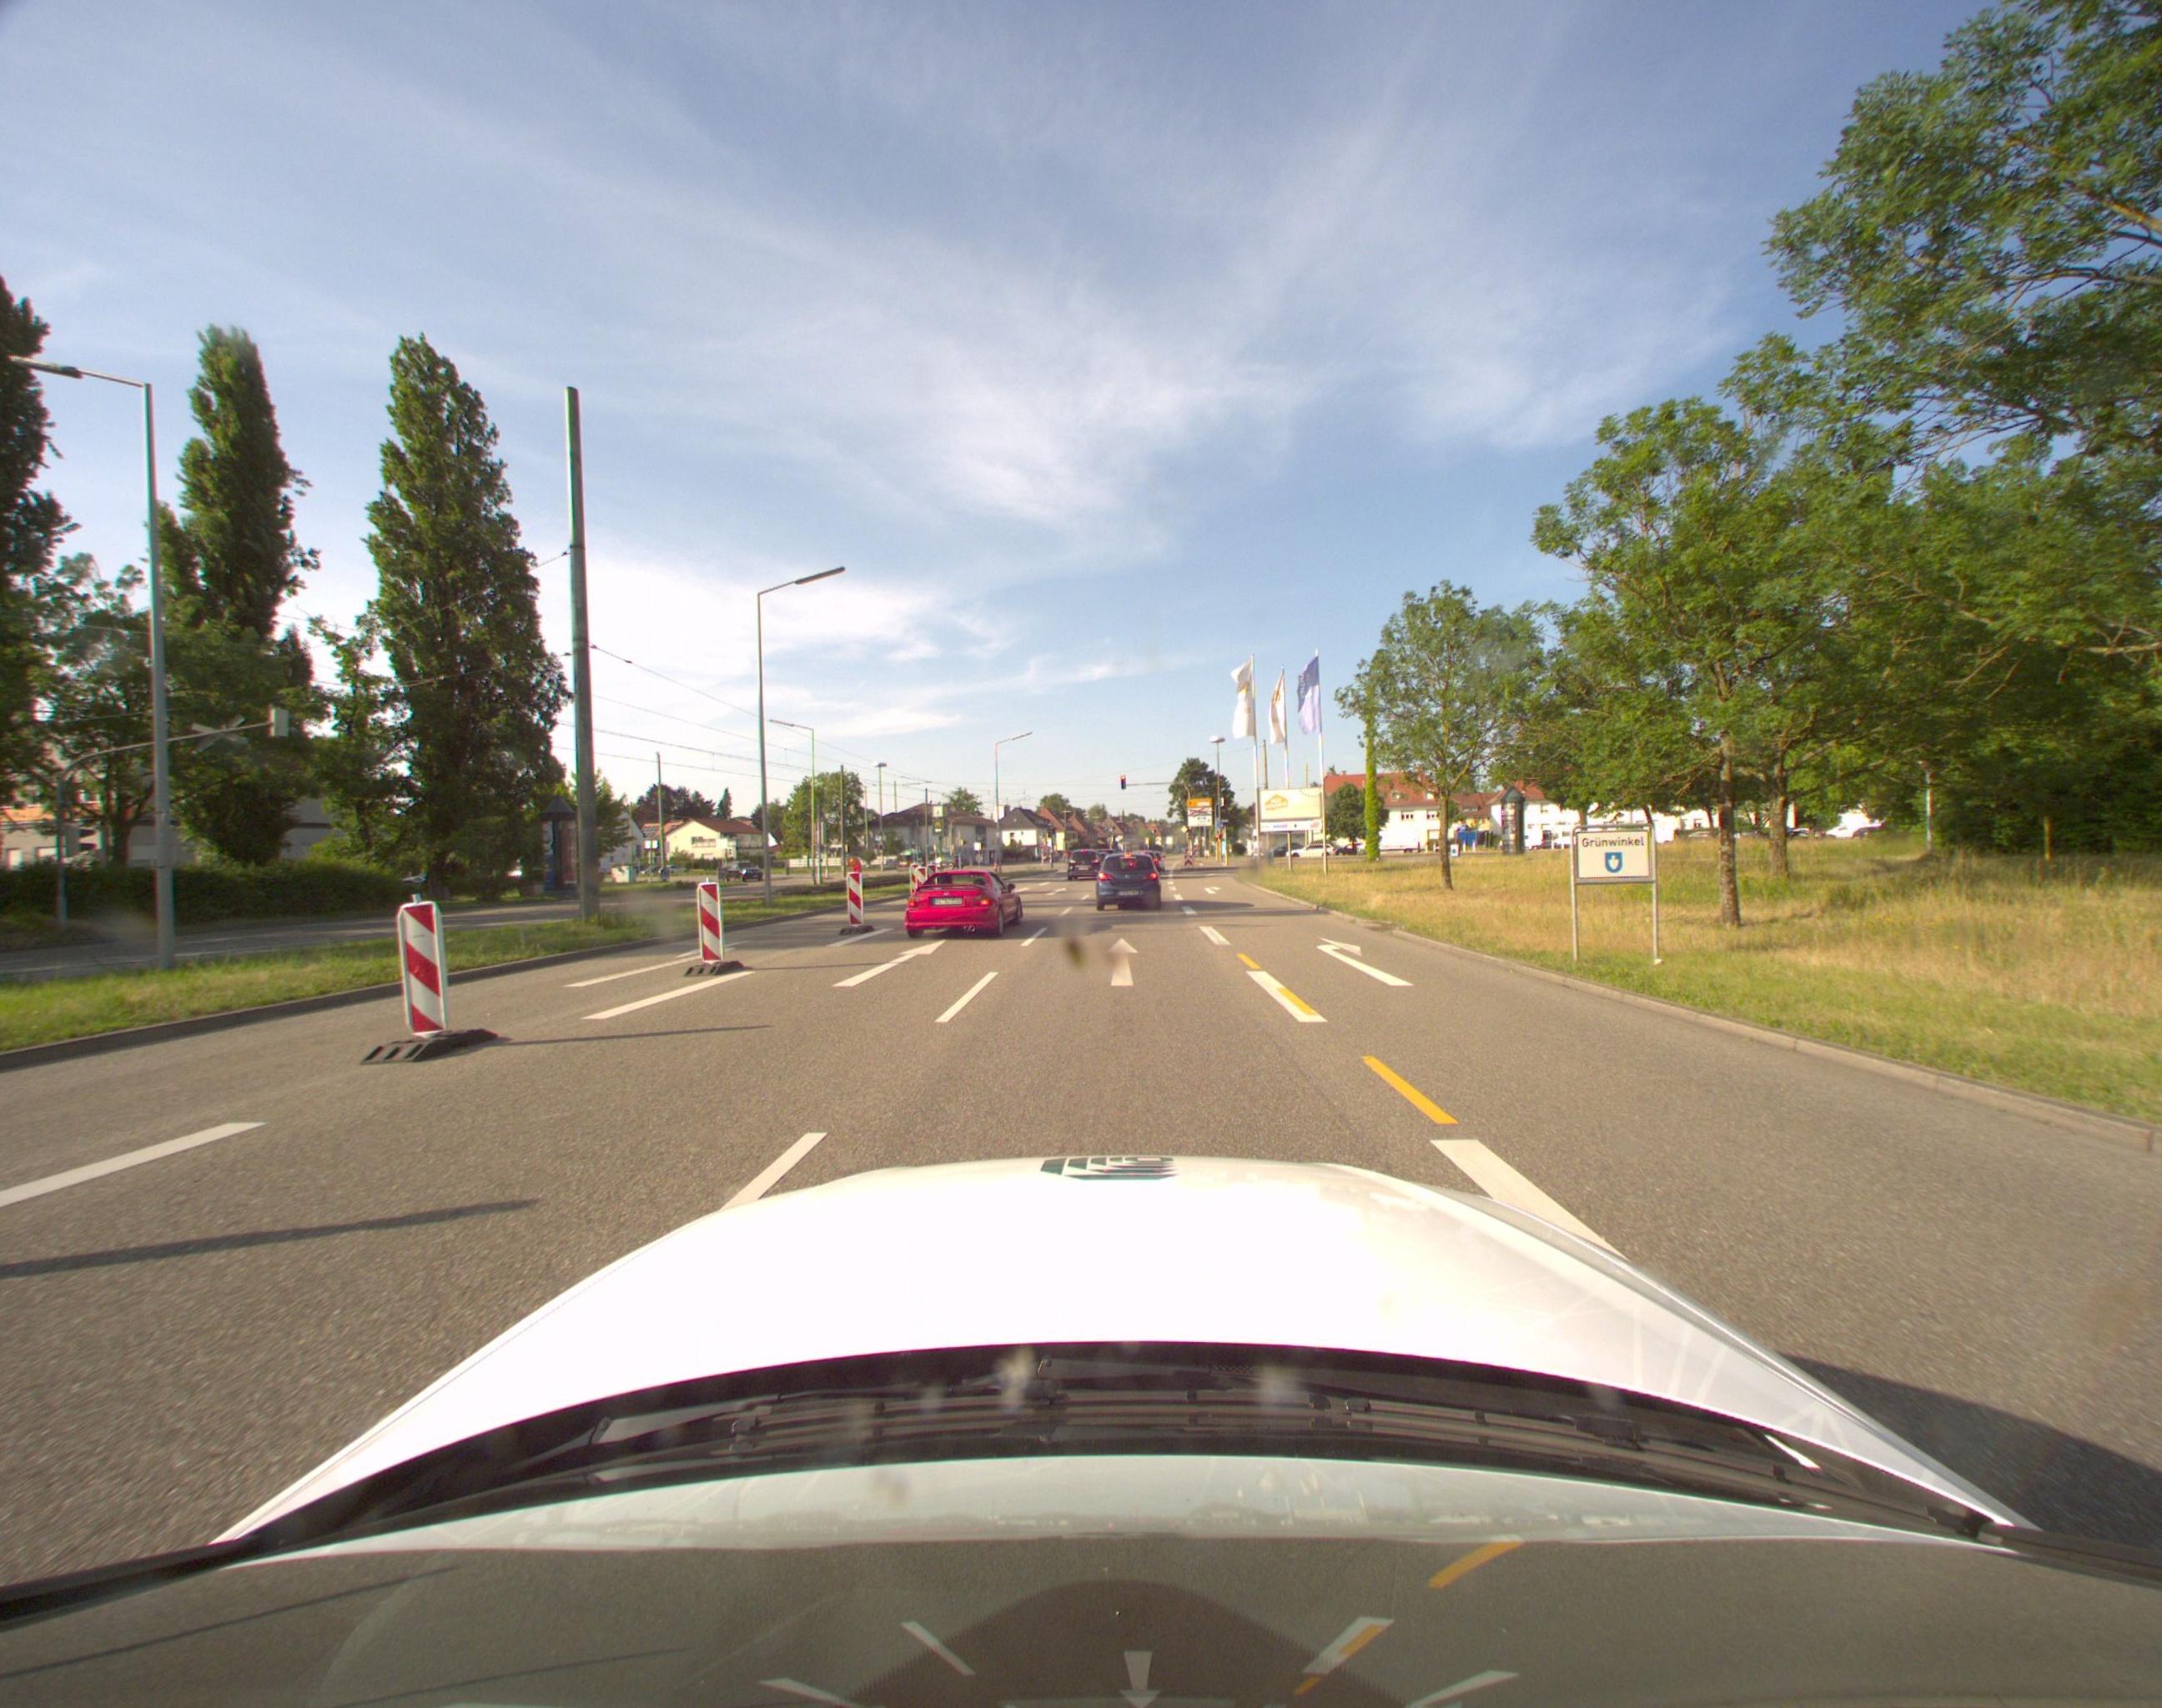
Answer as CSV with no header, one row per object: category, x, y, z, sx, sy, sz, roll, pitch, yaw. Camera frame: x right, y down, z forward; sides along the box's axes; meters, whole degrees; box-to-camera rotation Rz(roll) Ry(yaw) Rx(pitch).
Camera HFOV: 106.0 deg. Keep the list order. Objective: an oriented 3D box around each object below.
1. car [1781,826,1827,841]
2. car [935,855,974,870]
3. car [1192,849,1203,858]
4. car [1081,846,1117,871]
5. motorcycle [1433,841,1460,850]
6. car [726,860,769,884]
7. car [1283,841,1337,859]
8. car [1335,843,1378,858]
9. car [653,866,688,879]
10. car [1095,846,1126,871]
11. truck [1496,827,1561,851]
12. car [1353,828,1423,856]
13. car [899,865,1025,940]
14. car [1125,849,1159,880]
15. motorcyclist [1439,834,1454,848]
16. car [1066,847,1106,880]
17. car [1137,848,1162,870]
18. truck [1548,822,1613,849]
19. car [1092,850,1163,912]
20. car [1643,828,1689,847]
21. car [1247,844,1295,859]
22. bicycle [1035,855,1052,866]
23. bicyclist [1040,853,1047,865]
car,80.232,-2.259,90.396,1.904,1.514,3.396,-2,0,-34
car,-13.963,0.981,90.038,3.948,1.486,2.013,-2,0,35
car,18.662,-0.019,130.717,1.665,1.398,4.009,0,-1,9
car,1.180,0.264,51.402,1.690,1.508,4.565,-1,0,9
motorcycle,35.508,-0.811,79.077,2.259,0.866,0.692,-2,0,7
car,-30.274,1.662,73.804,2.011,2.013,5.294,-2,0,-41
car,22.876,-0.401,81.486,5.065,1.563,1.844,-2,0,8
car,28.542,-0.387,84.361,3.964,1.453,1.720,-2,0,8
car,-57.310,2.551,113.760,1.979,1.684,4.236,0,-1,14
car,2.182,0.311,58.748,1.497,1.651,4.758,-2,0,11
truck,51.229,-1.704,93.452,2.283,2.524,6.302,-2,1,-27
car,30.329,-1.151,80.594,6.173,2.583,2.005,-2,0,8
car,-2.195,0.868,16.066,1.724,1.206,3.850,0,0,3
car,3.350,0.540,44.142,1.698,1.552,3.984,-2,0,5
motorcyclist,35.488,-1.289,79.074,1.060,1.352,0.681,-2,0,7
car,0.320,0.480,43.974,1.755,1.670,4.090,-1,0,5
car,4.875,0.330,57.751,1.648,1.443,4.021,-2,0,6
truck,57.176,-2.102,93.335,1.905,2.854,6.009,-2,0,-38
car,1.220,0.663,22.501,1.735,1.505,4.224,-2,0,1
car,66.705,-1.895,92.949,1.905,1.920,3.865,-2,0,-38
car,19.920,-0.235,85.569,4.796,1.411,1.720,-2,0,8
bicycle,-4.611,0.755,100.524,2.068,1.348,1.108,0,-1,-2
bicyclist,-4.613,0.612,100.525,0.881,1.431,1.136,0,-1,-1
